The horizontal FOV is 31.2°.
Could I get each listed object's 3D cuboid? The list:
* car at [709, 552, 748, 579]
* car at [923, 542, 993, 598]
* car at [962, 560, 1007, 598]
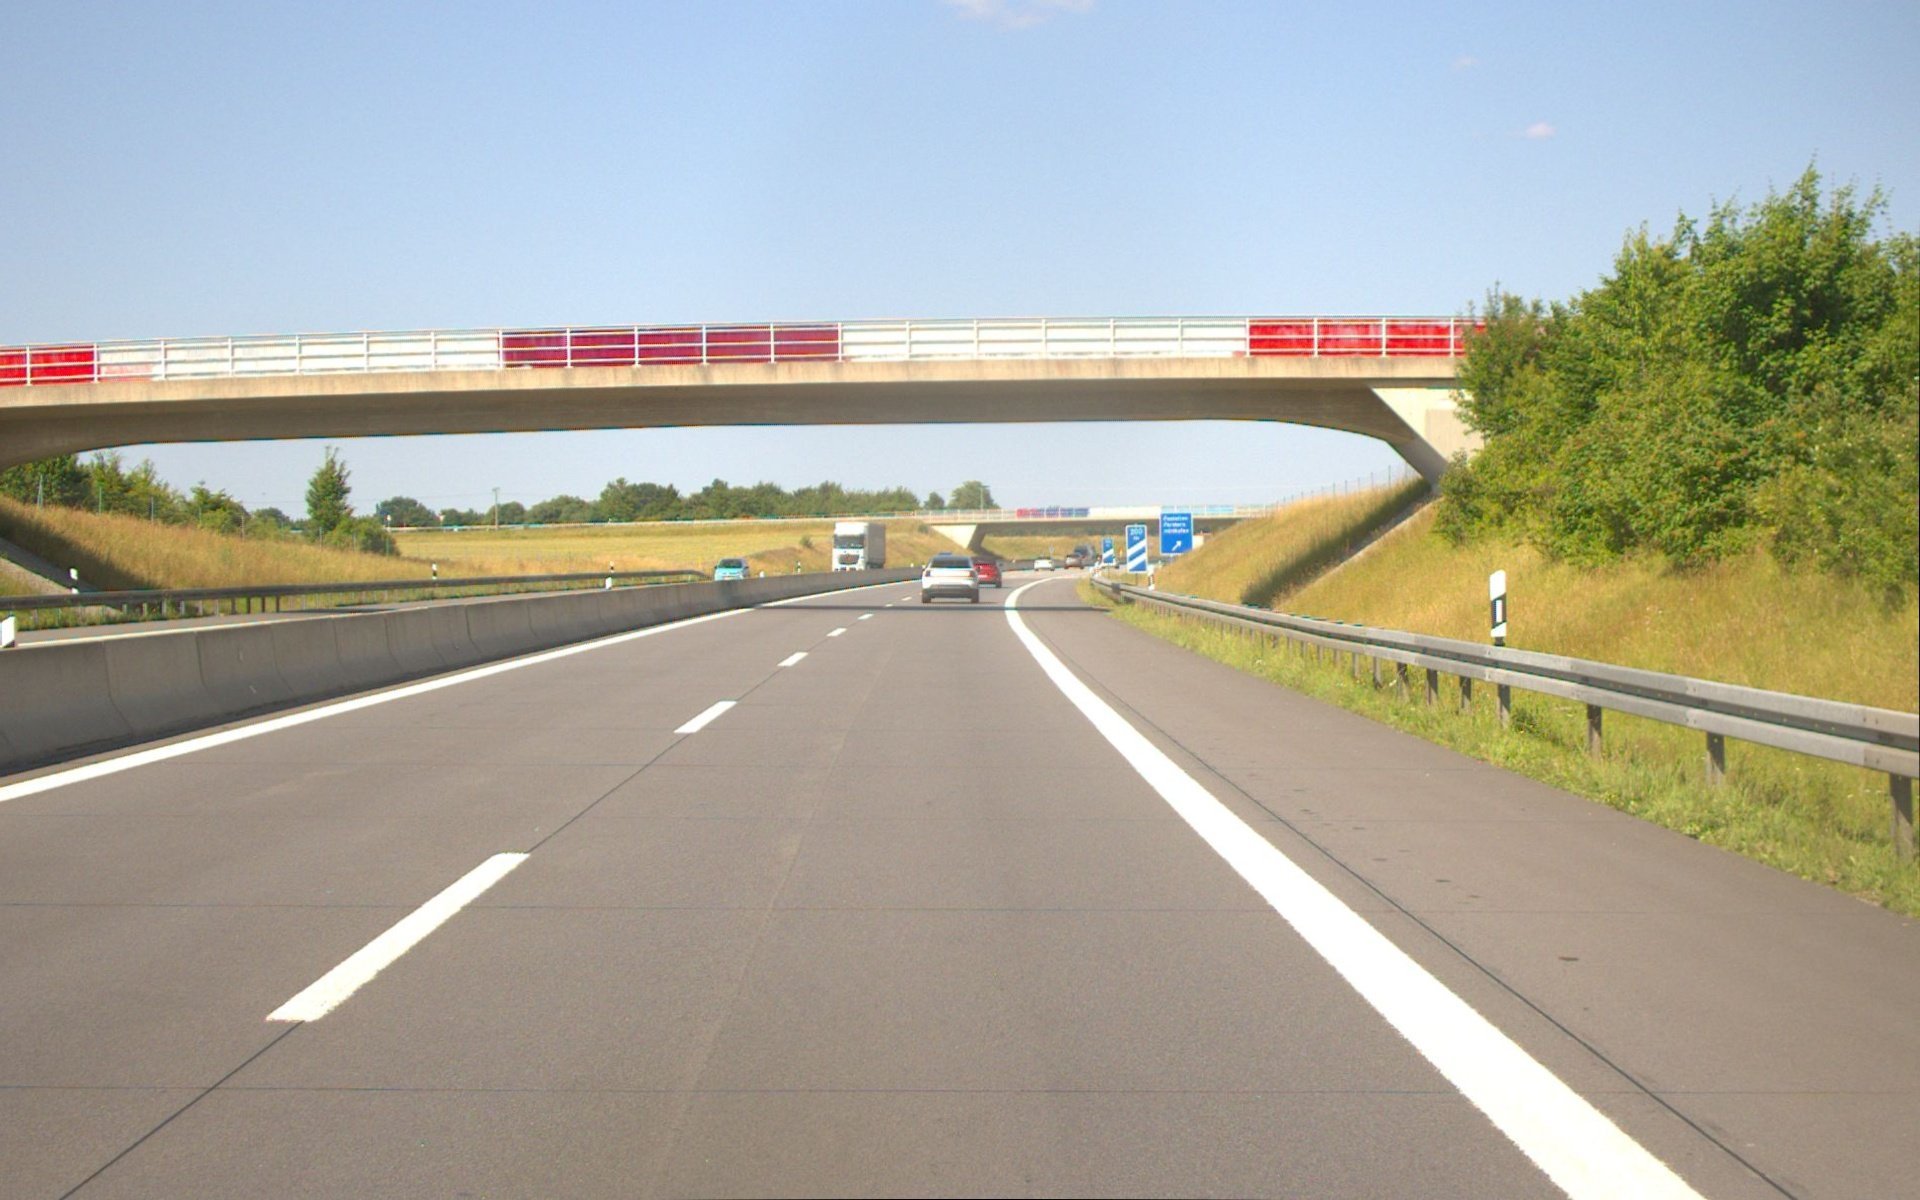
[{"bbox_3d":[-12.457,-1.869,185.053,1.660,1.448,4.000,0,1,2],"label":"car"},{"bbox_3d":[-0.092,-0.978,111.814,1.993,1.725,4.870,-1,1,-3],"label":"car"},{"bbox_3d":[1.192,-1.027,164.772,1.993,1.725,4.869,-1,1,2],"label":"car"}]
